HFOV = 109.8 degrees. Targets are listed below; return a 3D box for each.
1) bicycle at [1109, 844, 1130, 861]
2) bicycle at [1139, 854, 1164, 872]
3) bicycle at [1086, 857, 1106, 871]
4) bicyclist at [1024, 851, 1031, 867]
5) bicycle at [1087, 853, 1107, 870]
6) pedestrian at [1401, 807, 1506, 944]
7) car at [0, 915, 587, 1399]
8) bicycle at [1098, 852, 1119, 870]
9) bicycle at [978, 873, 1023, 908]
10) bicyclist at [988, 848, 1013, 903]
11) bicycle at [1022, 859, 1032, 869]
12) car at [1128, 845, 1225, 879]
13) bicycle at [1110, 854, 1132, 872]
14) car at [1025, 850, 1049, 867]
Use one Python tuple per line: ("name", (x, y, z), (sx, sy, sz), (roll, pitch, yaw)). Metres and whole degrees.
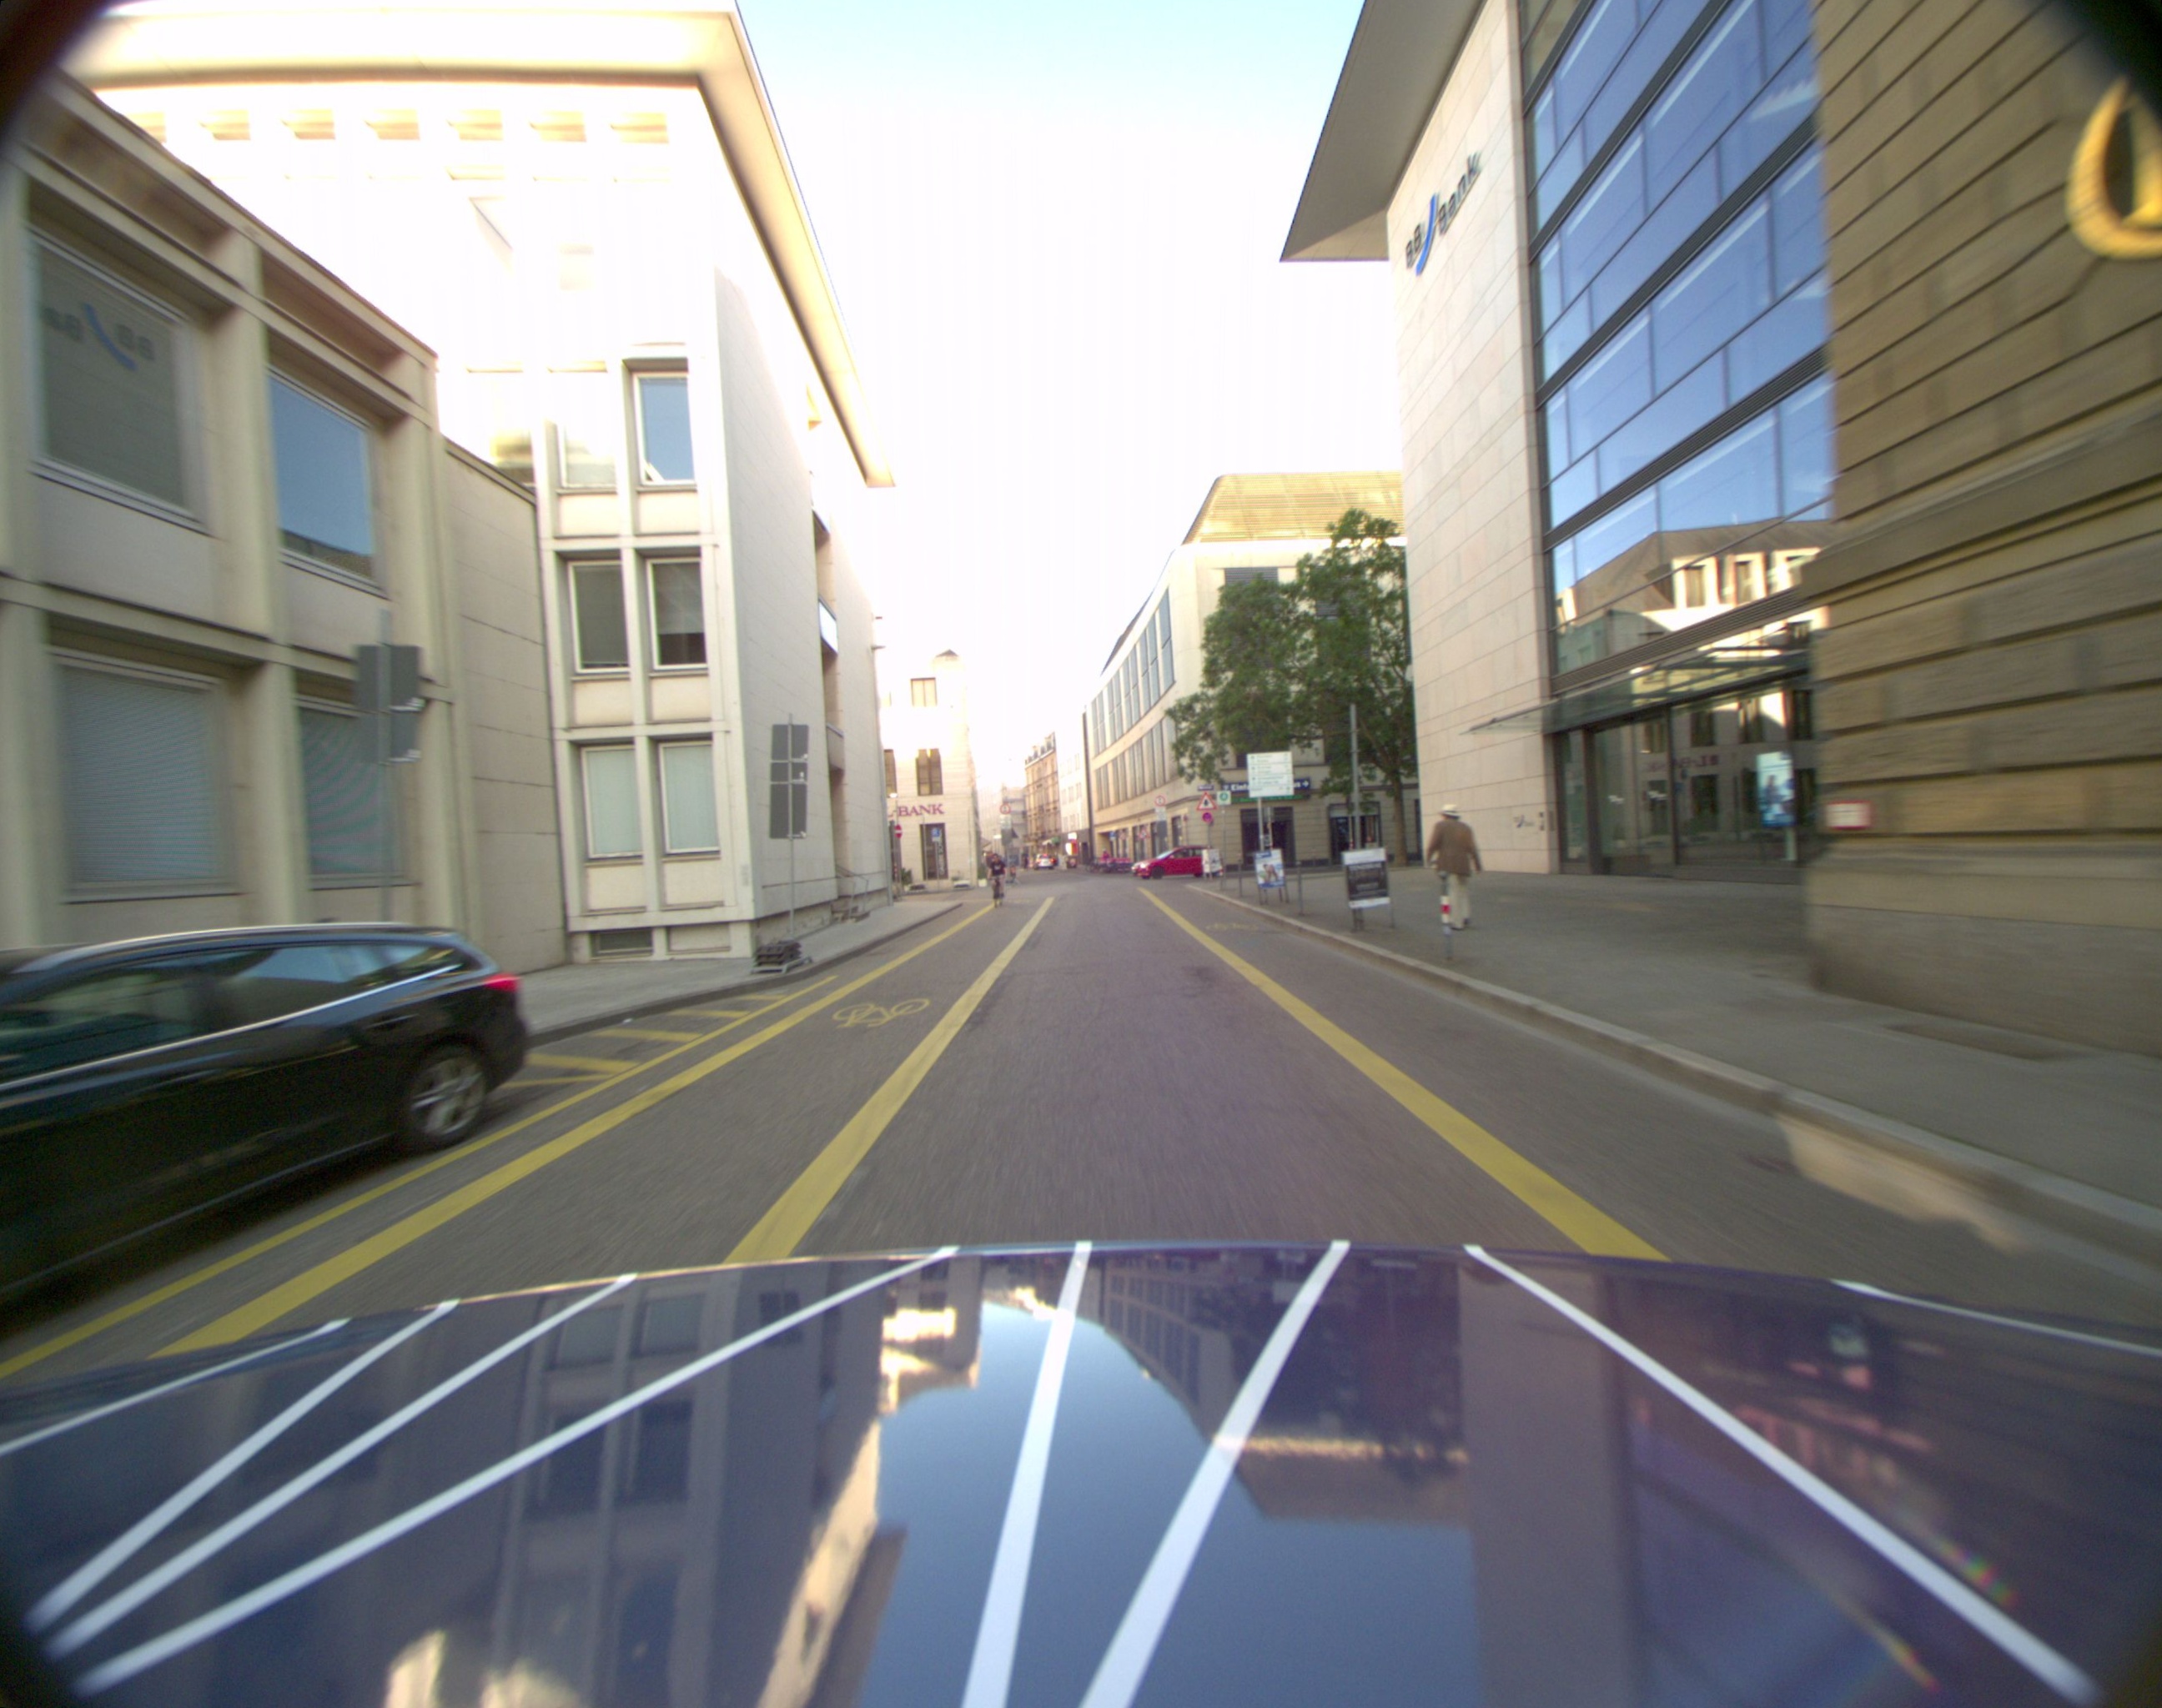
("bicycle", (2.988, -0.151, 59.016), (1.516, 1.243, 0.353), (-2, 2, 12))
("bicycle", (4.539, 0.578, 48.961), (1.516, 1.027, 0.353), (-4, 1, 17))
("bicycle", (1.172, 0.776, 58.921), (1.518, 0.947, 0.353), (-3, 2, 0))
("bicyclist", (-5.570, 0.528, 79.096), (0.498, 1.616, 0.631), (-3, 2, -18))
("bicycle", (1.242, 0.593, 60.021), (1.517, 1.243, 0.353), (-3, 2, 4))
("pedestrian", (5.311, 0.287, 10.913), (0.843, 1.790, 1.073), (-7, 2, 3))
("car", (-4.818, 1.291, 3.787), (1.787, 1.471, 4.288), (-5, 0, 0))
("bicycle", (2.061, 0.540, 56.789), (1.516, 1.243, 0.353), (-2, 2, 12))
("bicycle", (-2.556, 1.145, 24.315), (0.510, 0.968, 1.823), (-2, 2, 24))
("bicyclist", (-2.566, 0.691, 24.316), (0.500, 1.722, 0.552), (-2, 2, 26))
("bicycle", (-5.619, 1.055, 79.392), (0.519, 0.989, 2.105), (-3, 2, -18))
("car", (4.575, 0.361, 36.597), (4.264, 1.456, 1.826), (-2, 1, -11))
("bicycle", (2.915, 0.629, 55.824), (1.518, 1.243, 0.353), (-3, 2, 0))
("car", (-4.691, 0.461, 79.964), (2.177, 1.652, 3.996), (-3, 1, -8))
